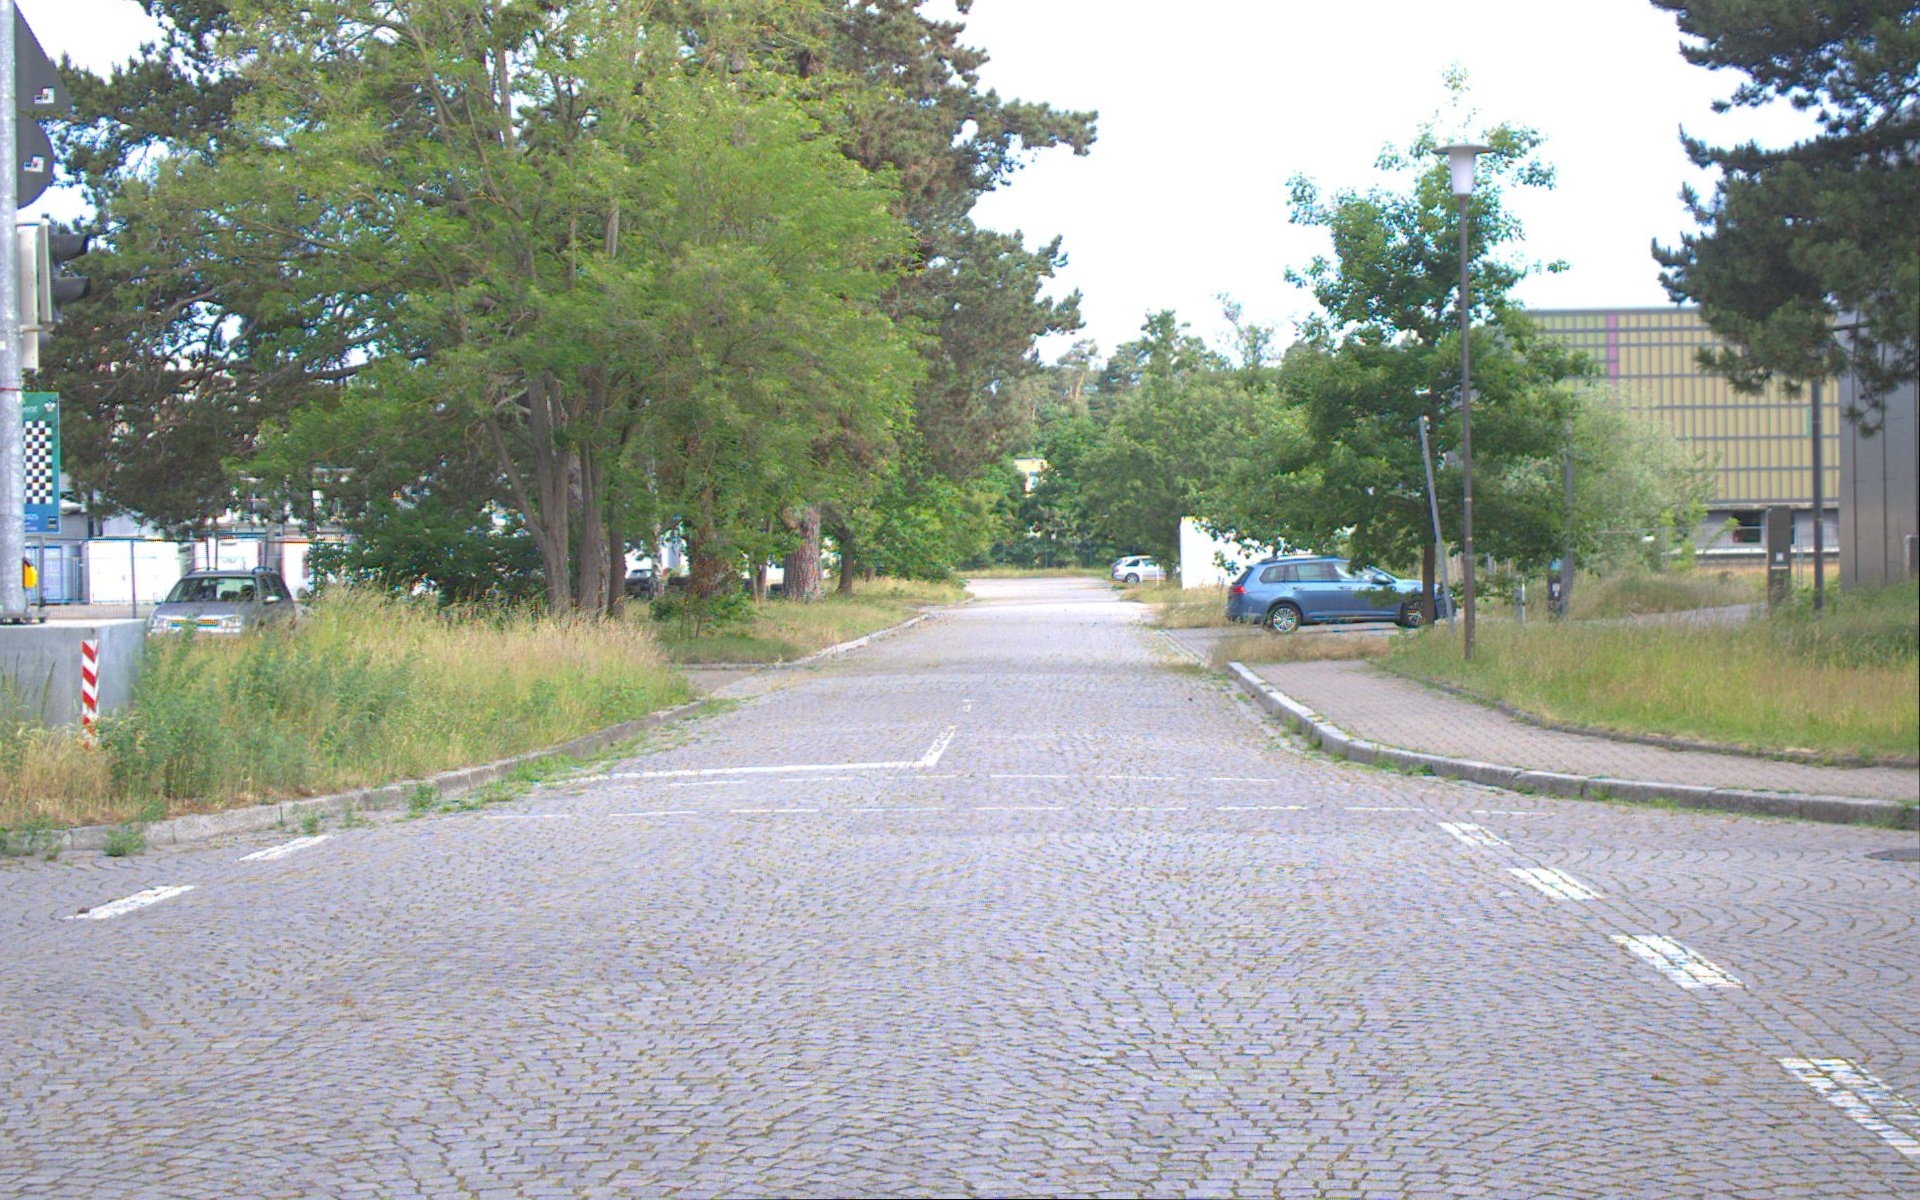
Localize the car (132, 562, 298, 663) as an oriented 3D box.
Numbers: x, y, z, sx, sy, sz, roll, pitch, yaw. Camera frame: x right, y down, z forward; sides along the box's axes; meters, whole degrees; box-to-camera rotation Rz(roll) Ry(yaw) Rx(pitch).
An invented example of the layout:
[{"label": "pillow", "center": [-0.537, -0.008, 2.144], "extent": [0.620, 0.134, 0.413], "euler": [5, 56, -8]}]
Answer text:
[{"label": "car", "center": [-11.627, 0.165, 53.881], "extent": [1.613, 1.482, 4.000], "euler": [-1, 1, 2]}]

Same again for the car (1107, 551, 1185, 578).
[{"label": "car", "center": [10.009, -1.907, 185.093], "extent": [3.986, 1.393, 2.000], "euler": [-1, 1, -4]}]

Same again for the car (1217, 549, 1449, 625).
[{"label": "car", "center": [7.346, -0.270, 67.975], "extent": [4.344, 1.417, 2.000], "euler": [-1, 1, 0]}]
